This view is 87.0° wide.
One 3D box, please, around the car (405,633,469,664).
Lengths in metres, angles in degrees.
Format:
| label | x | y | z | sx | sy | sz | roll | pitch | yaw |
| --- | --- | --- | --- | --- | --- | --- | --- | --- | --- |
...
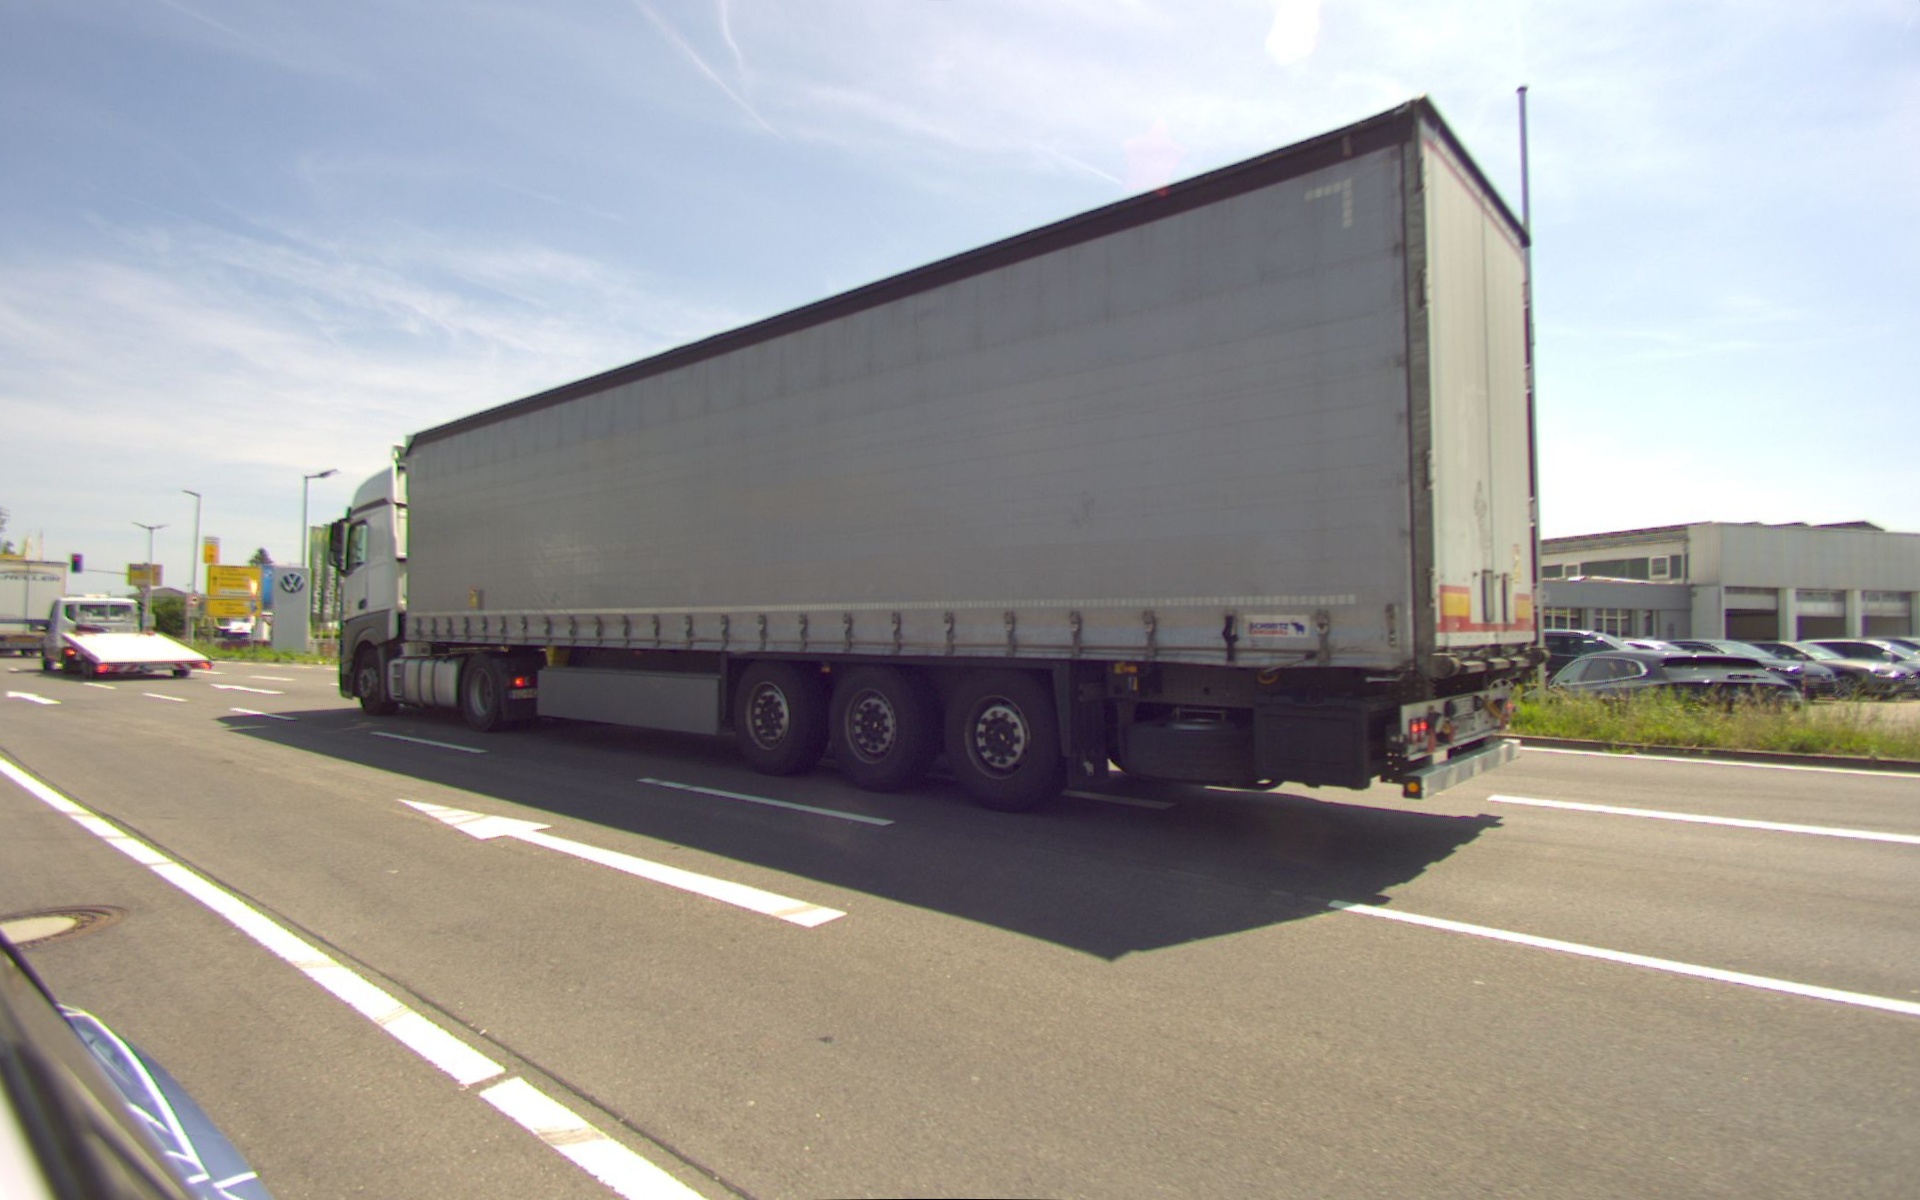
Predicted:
| label | x | y | z | sx | sy | sz | roll | pitch | yaw |
| --- | --- | --- | --- | --- | --- | --- | --- | --- | --- |
| car | -26.953 | 2.480 | 52.293 | 2.092 | 1.490 | 4.011 | 0 | -2 | -15 |

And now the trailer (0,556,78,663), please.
| label | x | y | z | sx | sy | sz | roll | pitch | yaw |
| --- | --- | --- | --- | --- | --- | --- | --- | --- | --- |
| trailer | -41.868 | 0.505 | 44.546 | 10.050 | 4.320 | 2.981 | -2 | -3 | 40 |

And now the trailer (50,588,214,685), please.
| label | x | y | z | sx | sy | sz | roll | pitch | yaw |
| --- | --- | --- | --- | --- | --- | --- | --- | --- | --- |
| trailer | -22.787 | 1.005 | 27.722 | 6.895 | 2.356 | 2.402 | -2 | -4 | 42 |

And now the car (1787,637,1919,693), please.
| label | x | y | z | sx | sy | sz | roll | pitch | yaw |
| --- | --- | --- | --- | --- | --- | --- | --- | --- | --- |
| car | 23.252 | 1.588 | 25.025 | 1.635 | 1.293 | 4.013 | 1 | -2 | -25 |

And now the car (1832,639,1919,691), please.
| label | x | y | z | sx | sy | sz | roll | pitch | yaw |
| --- | --- | --- | --- | --- | --- | --- | --- | --- | --- |
| car | 25.394 | 1.680 | 26.137 | 1.635 | 1.293 | 4.013 | 1 | -2 | -25 |

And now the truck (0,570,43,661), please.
| label | x | y | z | sx | sy | sz | roll | pitch | yaw |
| --- | --- | --- | --- | --- | --- | --- | --- | --- | --- |
| truck | -47.625 | 0.790 | 49.214 | 10.345 | 4.136 | 2.998 | -2 | -3 | 40 |

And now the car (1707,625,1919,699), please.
| label | x | y | z | sx | sy | sz | roll | pitch | yaw |
| --- | --- | --- | --- | --- | --- | --- | --- | --- | --- |
| car | 20.625 | 1.419 | 24.254 | 1.714 | 1.616 | 4.012 | 1 | -2 | -31 |

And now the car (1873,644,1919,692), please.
| label | x | y | z | sx | sy | sz | roll | pitch | yaw |
| --- | --- | --- | --- | --- | --- | --- | --- | --- | --- |
| car | 27.436 | 1.850 | 27.169 | 1.635 | 1.293 | 4.012 | 1 | -2 | -31 |

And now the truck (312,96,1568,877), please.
| label | x | y | z | sx | sy | sz | roll | pitch | yaw |
| --- | --- | --- | --- | --- | --- | --- | --- | --- | --- |
| truck | -2.869 | -0.468 | 11.447 | 16.469 | 3.918 | 2.762 | -1 | -1 | 40 |

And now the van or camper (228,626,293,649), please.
| label | x | y | z | sx | sy | sz | roll | pitch | yaw |
| --- | --- | --- | --- | --- | --- | --- | --- | --- | --- |
| van or camper | -76.212 | 4.105 | 110.288 | 2.092 | 2.431 | 5.403 | -1 | -2 | 35 |

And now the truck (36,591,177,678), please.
| label | x | y | z | sx | sy | sz | roll | pitch | yaw |
| --- | --- | --- | --- | --- | --- | --- | --- | --- | --- |
| truck | -25.596 | 1.076 | 30.283 | 5.673 | 2.358 | 2.399 | -2 | -4 | 42 |
